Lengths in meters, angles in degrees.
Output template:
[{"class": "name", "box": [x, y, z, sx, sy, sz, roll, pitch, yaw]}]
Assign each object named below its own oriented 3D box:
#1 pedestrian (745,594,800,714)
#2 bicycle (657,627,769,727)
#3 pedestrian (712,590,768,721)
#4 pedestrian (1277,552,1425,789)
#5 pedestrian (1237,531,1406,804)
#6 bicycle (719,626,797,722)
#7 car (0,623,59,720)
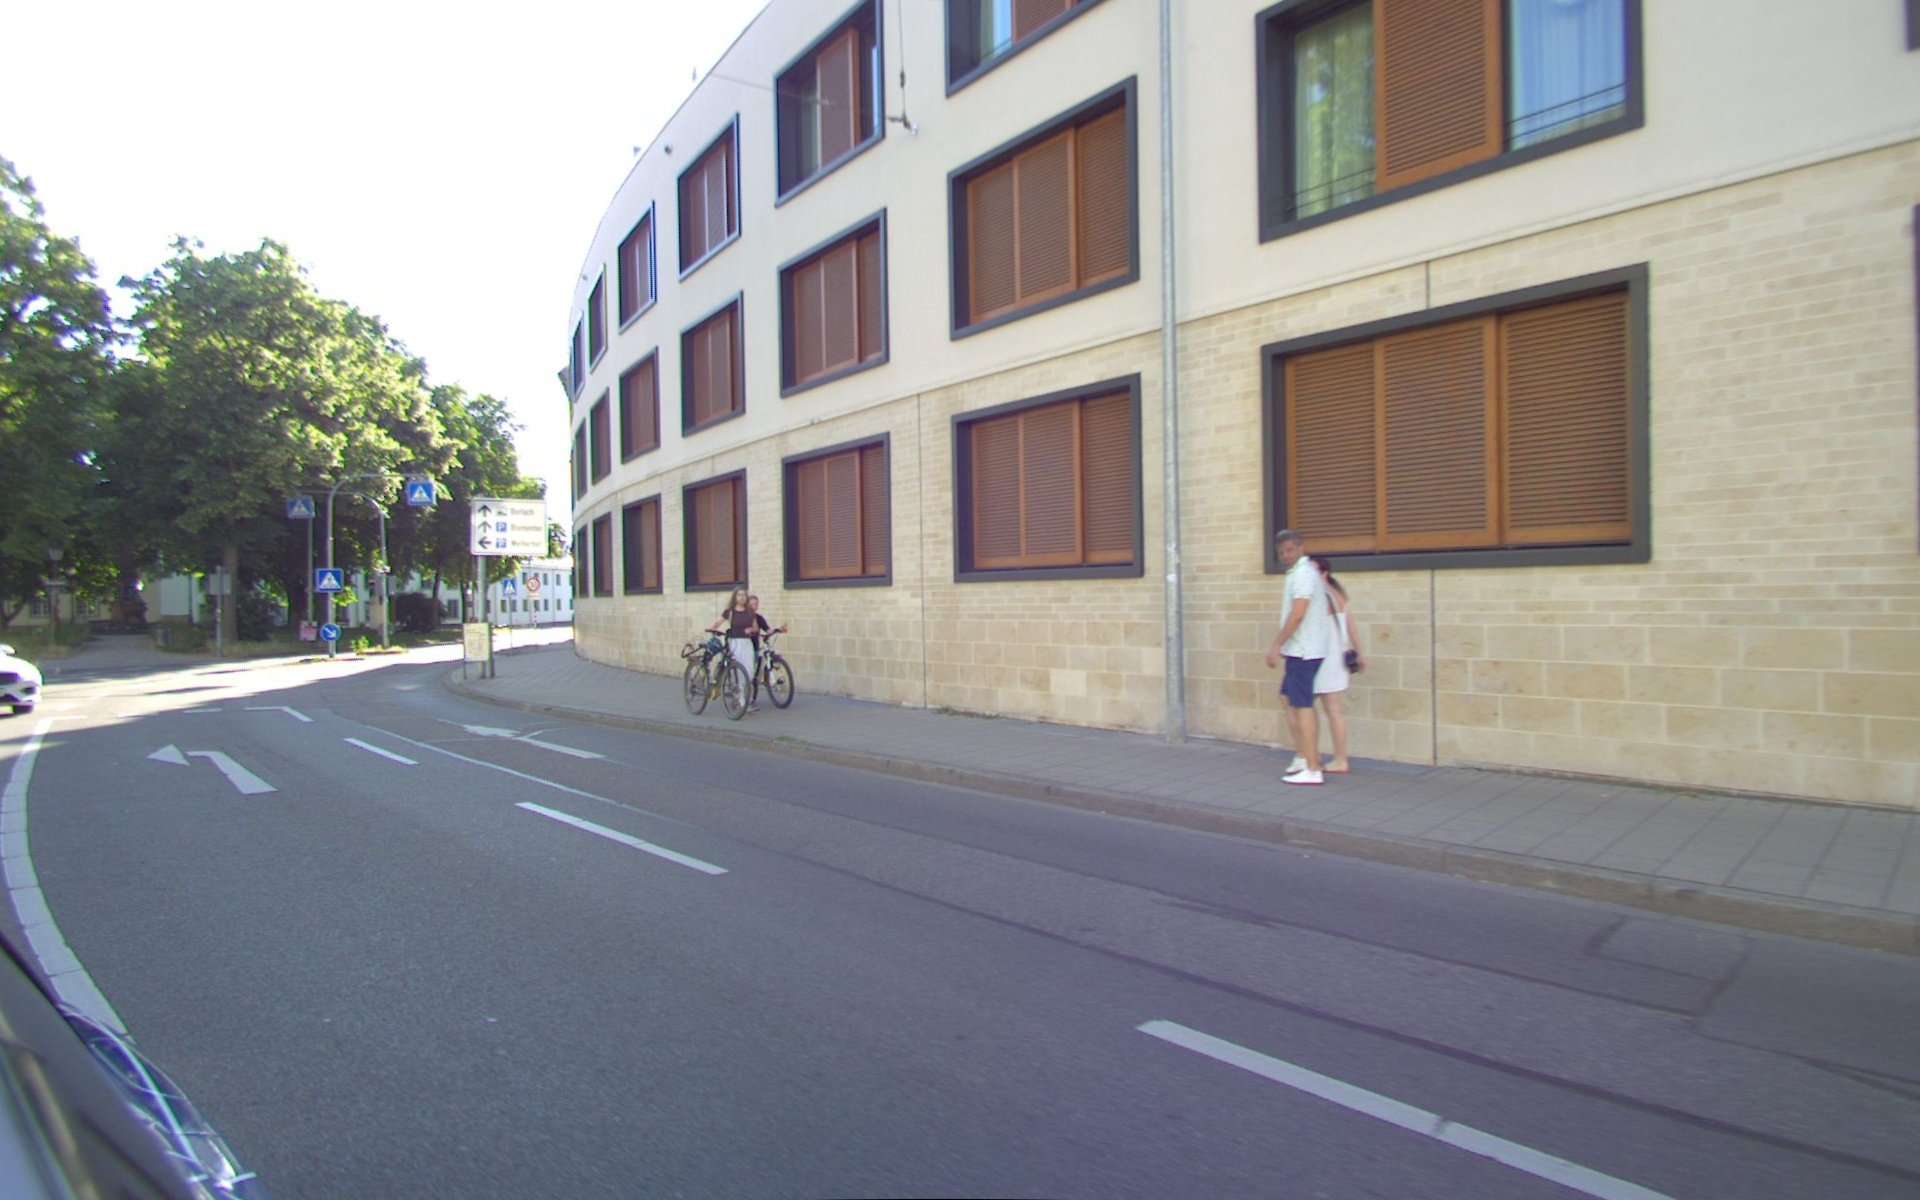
[{"class": "pedestrian", "box": [-2.555, 0.720, 13.772, 0.467, 1.576, 0.604, -3, 0, -34]}, {"class": "bicycle", "box": [-3.213, 0.965, 13.042, 0.435, 1.187, 1.968, -2, -1, -44]}, {"class": "pedestrian", "box": [-2.891, 0.714, 13.283, 0.467, 1.660, 0.604, -2, 0, -34]}, {"class": "pedestrian", "box": [3.055, 0.506, 7.912, 0.843, 1.727, 0.694, -1, 1, 45]}, {"class": "pedestrian", "box": [2.660, 0.457, 7.477, 0.993, 1.863, 0.598, -1, 1, 45]}, {"class": "bicycle", "box": [-2.718, 0.944, 13.481, 0.370, 1.176, 1.842, -2, 0, -31]}, {"class": "car", "box": [-16.896, 1.165, 16.410, 4.748, 1.475, 1.838, -2, -1, 27]}]
